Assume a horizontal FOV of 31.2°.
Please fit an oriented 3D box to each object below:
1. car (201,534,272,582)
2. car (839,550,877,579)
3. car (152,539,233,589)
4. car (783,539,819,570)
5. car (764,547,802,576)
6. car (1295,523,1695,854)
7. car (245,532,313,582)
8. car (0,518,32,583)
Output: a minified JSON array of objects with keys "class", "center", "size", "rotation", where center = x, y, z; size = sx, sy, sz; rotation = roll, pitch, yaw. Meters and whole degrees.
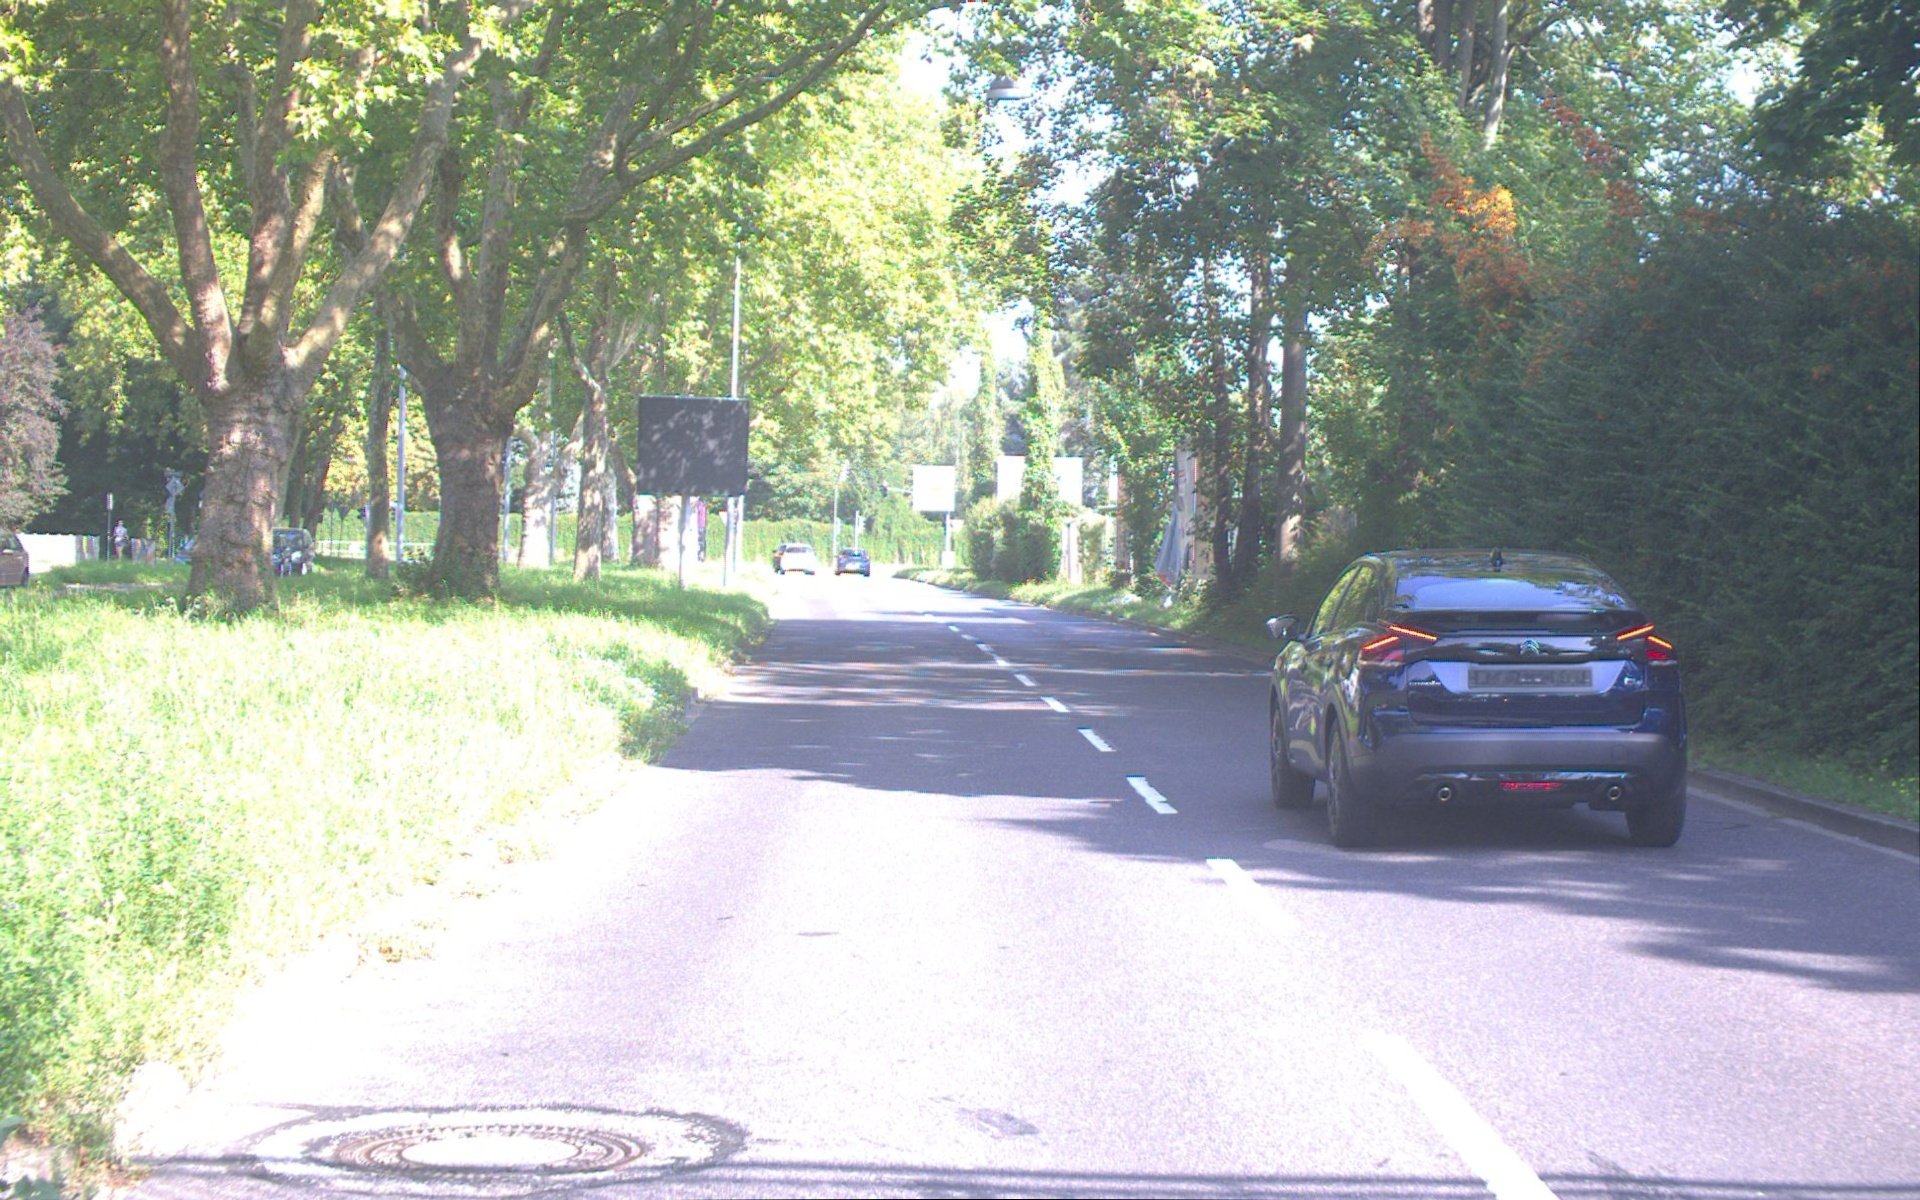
[{"class":"car","center":[-24.629,-1.415,117.113],"size":[1.699,1.562,4.000],"rotation":[1,0,-3]},{"class":"car","center":[-5.307,-1.843,179.082],"size":[1.797,1.396,4.001],"rotation":[2,0,-4]},{"class":"car","center":[-24.235,-1.131,108.687],"size":[1.699,1.503,4.541],"rotation":[1,1,-3]},{"class":"car","center":[-7.787,-2.235,168.958],"size":[1.687,1.457,4.000],"rotation":[2,0,-2]},{"class":"car","center":[-9.235,-2.013,179.474],"size":[1.687,1.457,3.850],"rotation":[2,0,1]},{"class":"car","center":[2.797,0.416,18.786],"size":[1.645,1.583,4.254],"rotation":[1,0,2]},{"class":"car","center":[-24.713,-1.538,124.917],"size":[1.699,1.726,4.660],"rotation":[2,0,-3]},{"class":"car","center":[-21.933,-1.124,75.954],"size":[1.802,1.425,4.064],"rotation":[2,1,-1]}]
